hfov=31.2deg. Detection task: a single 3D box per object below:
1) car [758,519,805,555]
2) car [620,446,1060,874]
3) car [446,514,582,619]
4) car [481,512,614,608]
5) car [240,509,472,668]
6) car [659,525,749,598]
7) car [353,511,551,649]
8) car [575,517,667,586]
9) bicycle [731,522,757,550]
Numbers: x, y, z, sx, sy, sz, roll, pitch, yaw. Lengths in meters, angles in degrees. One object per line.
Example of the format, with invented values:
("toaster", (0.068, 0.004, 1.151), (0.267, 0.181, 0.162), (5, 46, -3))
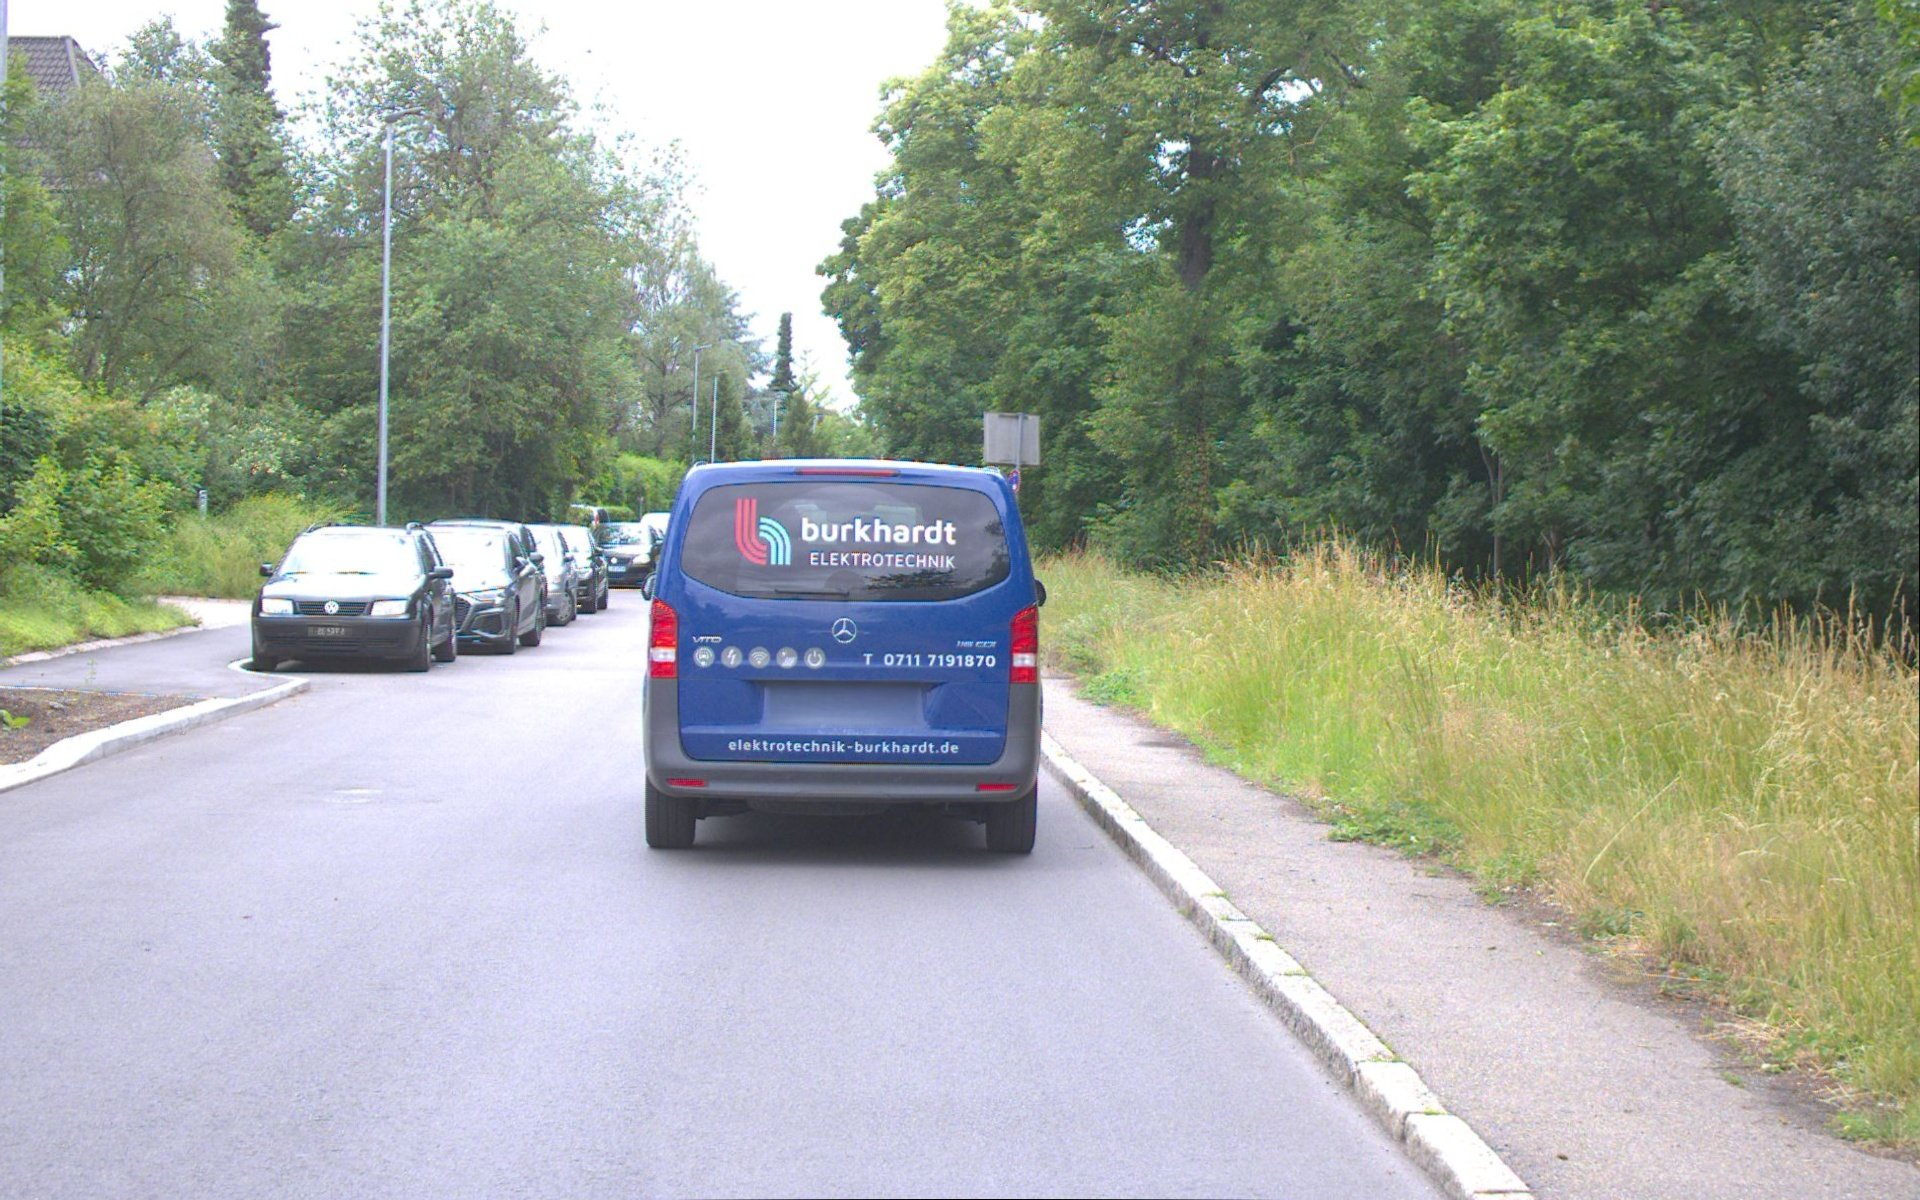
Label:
("car", (-8.669, -3.065, 167.191), (1.836, 1.625, 4.300), (4, 1, 1))
("car", (-0.662, 0.207, 17.443), (1.888, 1.837, 4.001), (3, 2, -4))
("car", (-6.487, -0.519, 50.362), (1.624, 1.427, 4.352), (2, 1, -3))
("car", (-6.769, -0.688, 56.845), (1.778, 1.427, 5.106), (3, 1, -3))
("car", (-6.118, -0.162, 35.282), (1.682, 1.477, 4.693), (2, 1, -2))
("car", (-5.443, -0.838, 73.483), (1.780, 1.421, 4.490), (3, 1, -3))
("car", (-5.885, -0.271, 40.260), (1.706, 1.477, 4.496), (2, 1, -1))
("car", (-7.575, -1.101, 77.050), (1.623, 1.445, 3.969), (2, 1, 0))
("bicycle", (-10.309, -3.032, 164.292), (0.906, 1.247, 2.916), (5, 1, 1))
